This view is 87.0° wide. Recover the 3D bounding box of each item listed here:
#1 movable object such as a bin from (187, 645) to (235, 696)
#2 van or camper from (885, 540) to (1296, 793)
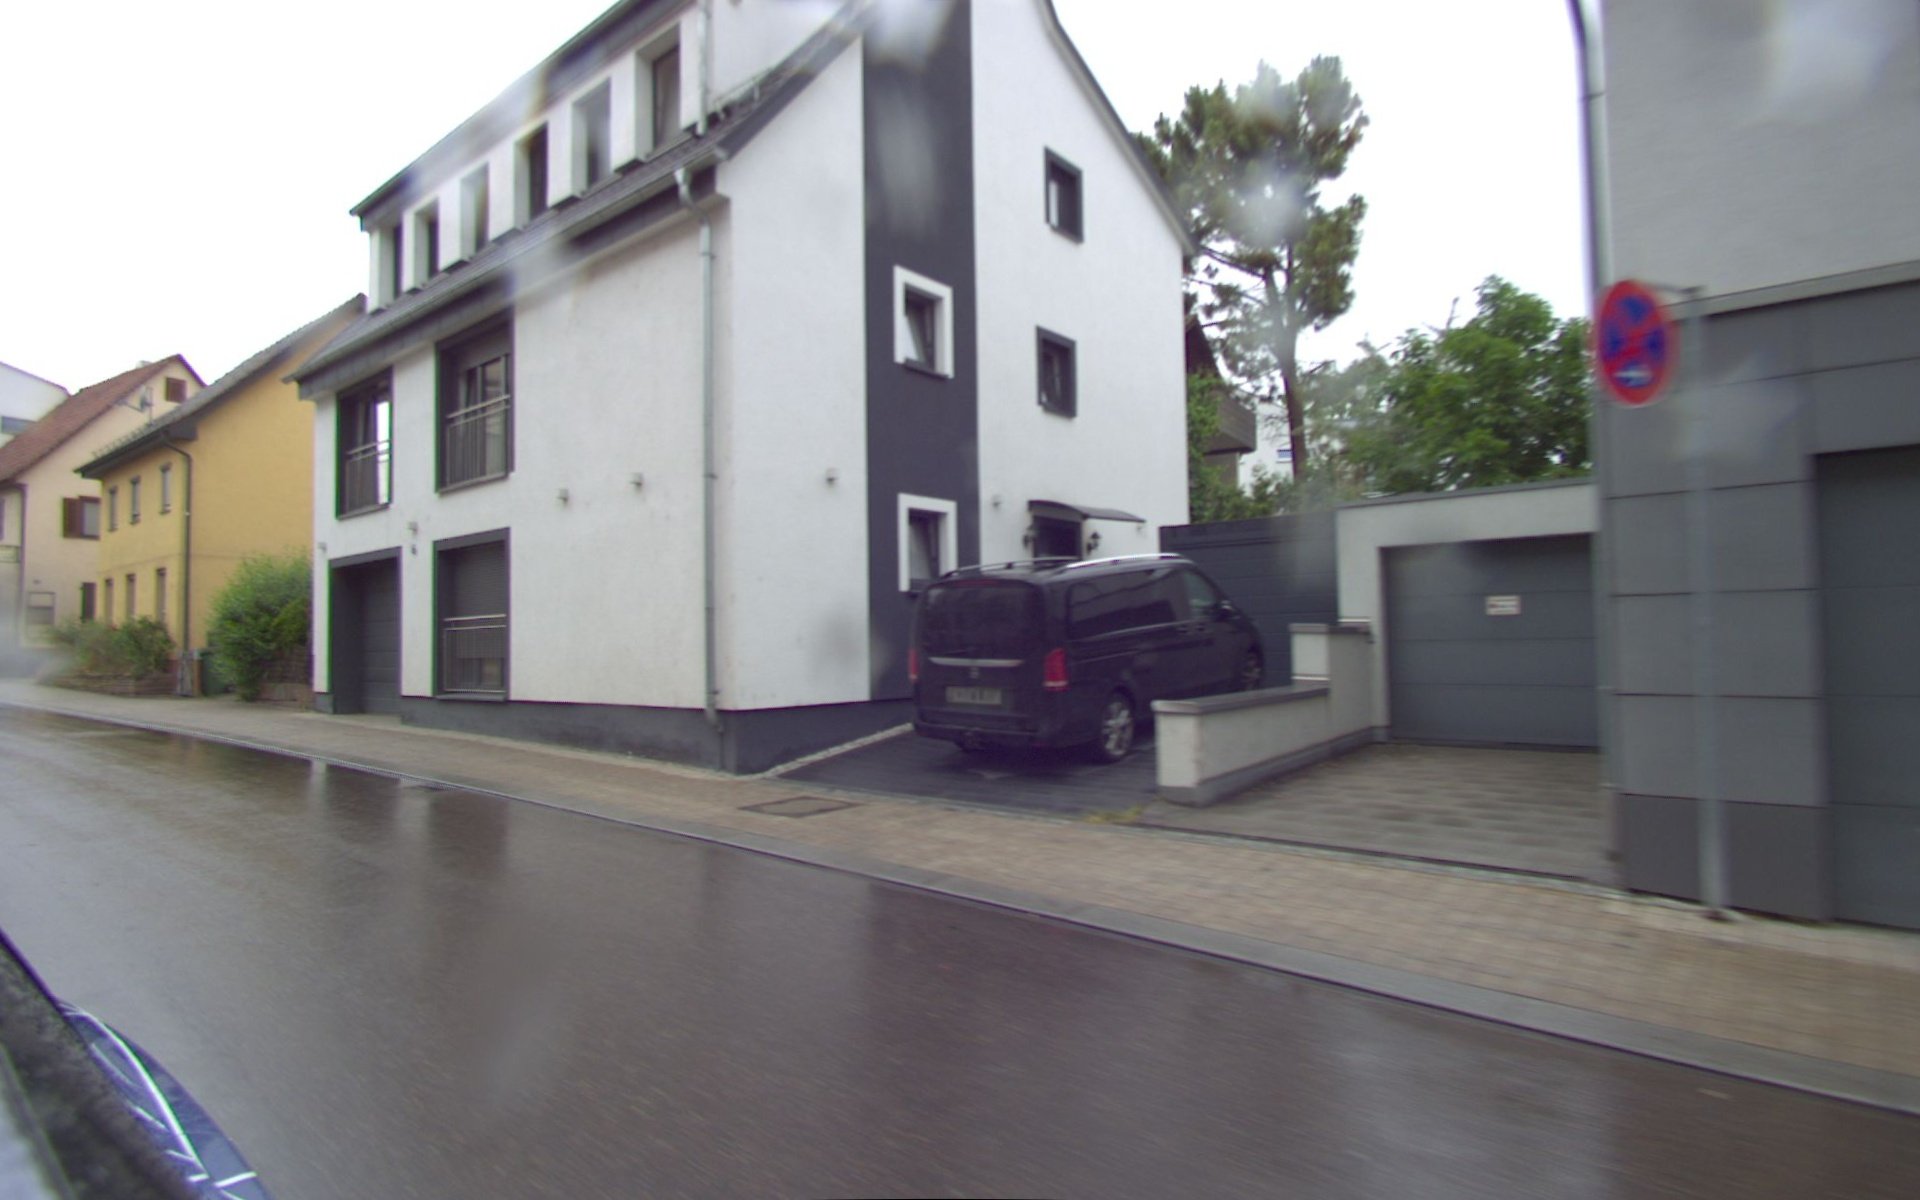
[{"bbox_3d":[-16.818,1.587,22.729,0.721,1.117,0.651,-1,-5,41],"label":"movable object such as a bin"},{"bbox_3d":[1.677,0.449,10.911,1.998,1.947,4.975,-1,4,40],"label":"van or camper"}]
